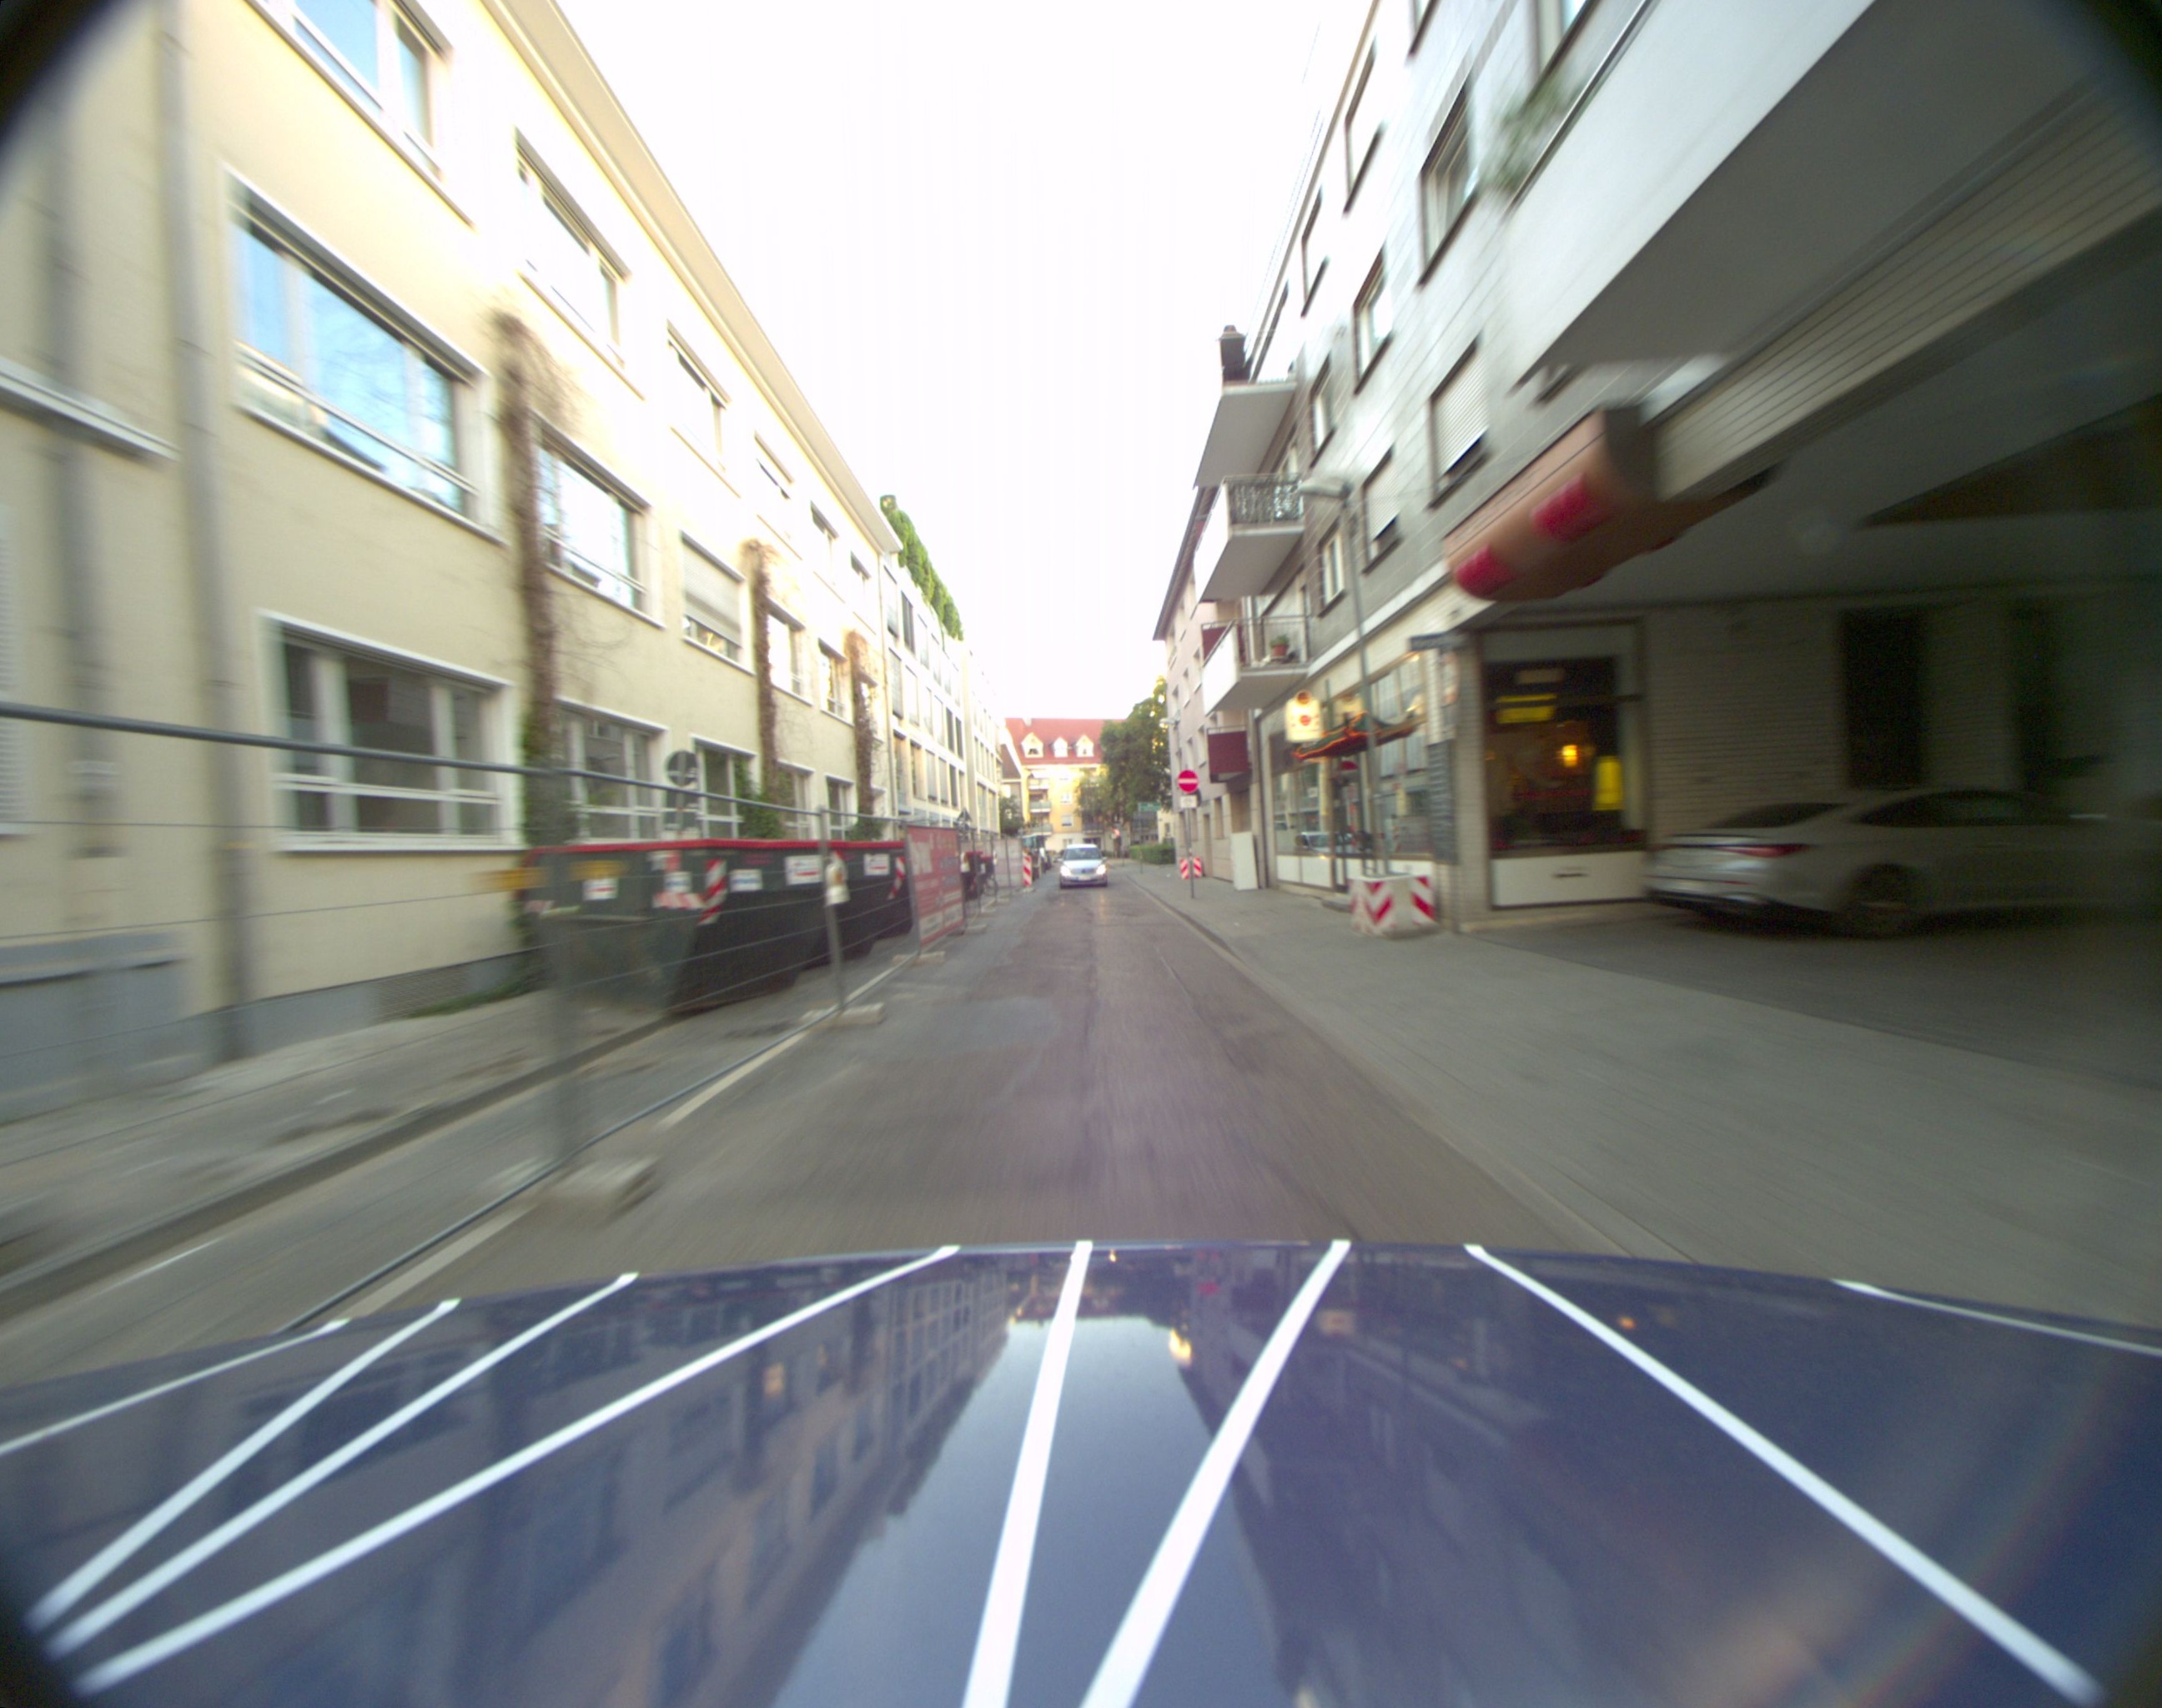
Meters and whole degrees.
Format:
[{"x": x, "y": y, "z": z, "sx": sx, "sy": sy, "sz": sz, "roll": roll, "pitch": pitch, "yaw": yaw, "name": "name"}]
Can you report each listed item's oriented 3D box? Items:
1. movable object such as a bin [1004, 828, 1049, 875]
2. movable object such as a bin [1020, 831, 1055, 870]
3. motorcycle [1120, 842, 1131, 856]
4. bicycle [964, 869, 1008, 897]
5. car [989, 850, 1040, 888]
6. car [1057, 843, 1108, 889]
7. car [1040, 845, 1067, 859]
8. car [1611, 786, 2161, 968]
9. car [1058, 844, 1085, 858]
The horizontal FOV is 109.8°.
[{"x": -3.308, "y": -0.157, "z": 47.273, "sx": 2.021, "sy": 2.608, "sz": 5.750, "roll": -6, "pitch": 0, "yaw": 1, "name": "movable object such as a bin"}, {"x": -3.212, "y": -0.297, "z": 57.231, "sx": 2.021, "sy": 2.608, "sz": 5.750, "roll": -6, "pitch": 1, "yaw": 1, "name": "movable object such as a bin"}, {"x": 4.717, "y": -0.546, "z": 79.855, "sx": 0.858, "sy": 1.345, "sz": 1.960, "roll": -3, "pitch": 1, "yaw": 9, "name": "motorcycle"}, {"x": -3.355, "y": 1.039, "z": 26.750, "sx": 1.803, "sy": 0.903, "sz": 0.460, "roll": -4, "pitch": 1, "yaw": 44, "name": "bicycle"}, {"x": -3.006, "y": 0.630, "z": 35.045, "sx": 1.792, "sy": 1.463, "sz": 4.445, "roll": -5, "pitch": 1, "yaw": 0, "name": "car"}, {"x": 0.060, "y": 0.424, "z": 29.858, "sx": 1.804, "sy": 1.607, "sz": 4.273, "roll": -2, "pitch": 0, "yaw": 0, "name": "car"}, {"x": -3.264, "y": -0.278, "z": 88.969, "sx": 1.749, "sy": 1.395, "sz": 4.237, "roll": -3, "pitch": 3, "yaw": -22, "name": "car"}, {"x": 8.377, "y": 0.172, "z": 7.881, "sx": 4.326, "sy": 1.414, "sz": 2.020, "roll": -4, "pitch": 1, "yaw": -1, "name": "car"}, {"x": -1.181, "y": -0.384, "z": 89.993, "sx": 1.749, "sy": 1.494, "sz": 4.237, "roll": -3, "pitch": 3, "yaw": -22, "name": "car"}]
